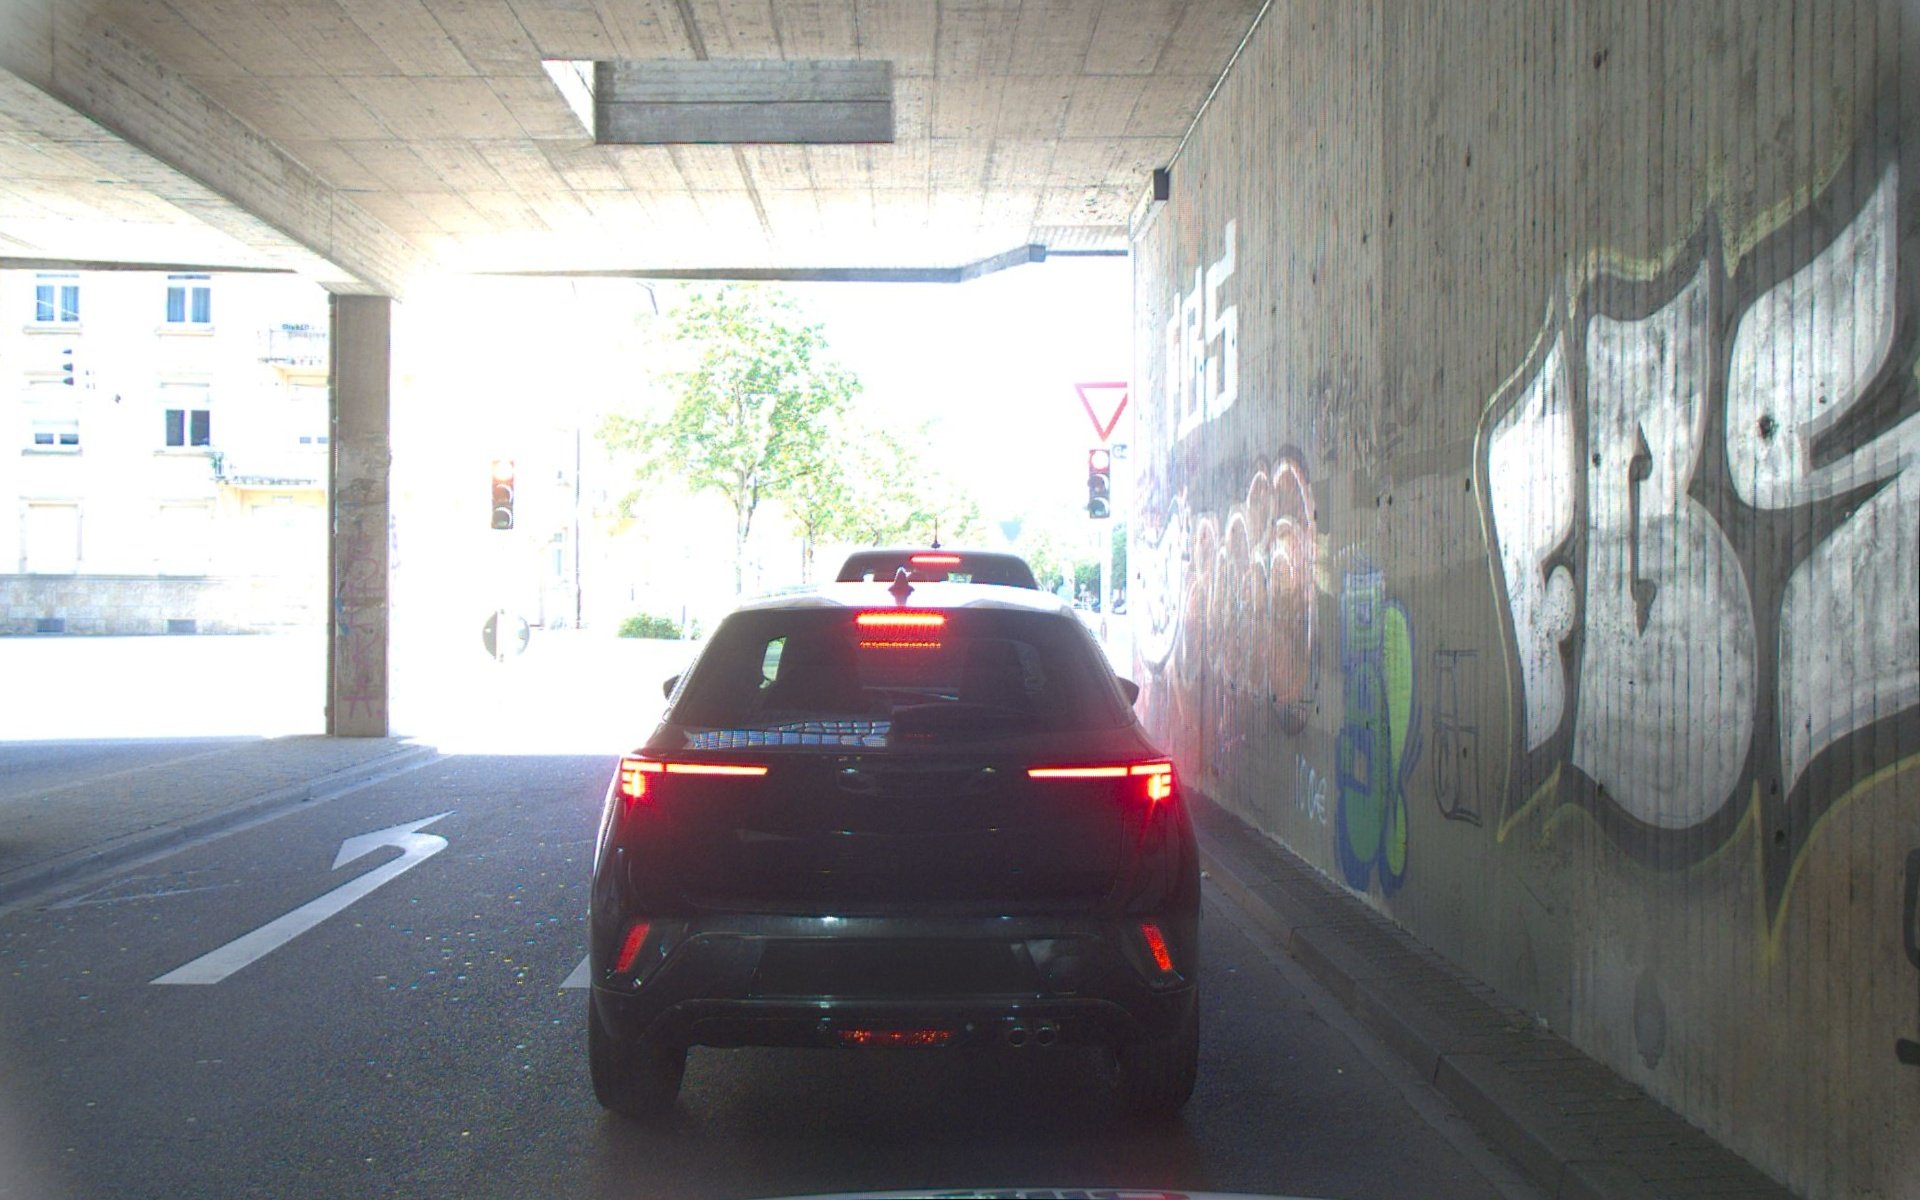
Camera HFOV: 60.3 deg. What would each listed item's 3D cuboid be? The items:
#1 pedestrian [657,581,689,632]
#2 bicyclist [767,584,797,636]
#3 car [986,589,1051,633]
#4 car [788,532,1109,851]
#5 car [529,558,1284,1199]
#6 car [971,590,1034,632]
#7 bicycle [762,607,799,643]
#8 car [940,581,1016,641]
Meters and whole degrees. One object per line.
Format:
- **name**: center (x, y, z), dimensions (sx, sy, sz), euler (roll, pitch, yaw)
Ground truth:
- **pedestrian**: center (-11.536, 0.257, 66.463), dimensions (0.971, 2.049, 1.089), euler (0, 0, 7)
- **bicyclist**: center (-5.537, 0.304, 51.434), dimensions (0.713, 1.609, 0.815), euler (1, -1, 9)
- **car**: center (2.468, 0.487, 69.016), dimensions (2.173, 1.749, 4.463), euler (0, -1, 9)
- **car**: center (-0.096, 0.534, 11.863), dimensions (1.906, 1.892, 3.963), euler (0, 0, -1)
- **car**: center (-0.155, 0.673, 6.038), dimensions (1.844, 1.565, 3.963), euler (0, 0, -1)
- **car**: center (1.623, 0.444, 62.194), dimensions (1.926, 1.523, 3.899), euler (0, -1, 8)
- **bicycle**: center (-5.556, 0.769, 51.400), dimensions (0.716, 1.086, 1.690), euler (1, 0, 9)
- **car**: center (0.498, 0.338, 44.157), dimensions (1.927, 1.523, 3.896), euler (0, -1, 1)
